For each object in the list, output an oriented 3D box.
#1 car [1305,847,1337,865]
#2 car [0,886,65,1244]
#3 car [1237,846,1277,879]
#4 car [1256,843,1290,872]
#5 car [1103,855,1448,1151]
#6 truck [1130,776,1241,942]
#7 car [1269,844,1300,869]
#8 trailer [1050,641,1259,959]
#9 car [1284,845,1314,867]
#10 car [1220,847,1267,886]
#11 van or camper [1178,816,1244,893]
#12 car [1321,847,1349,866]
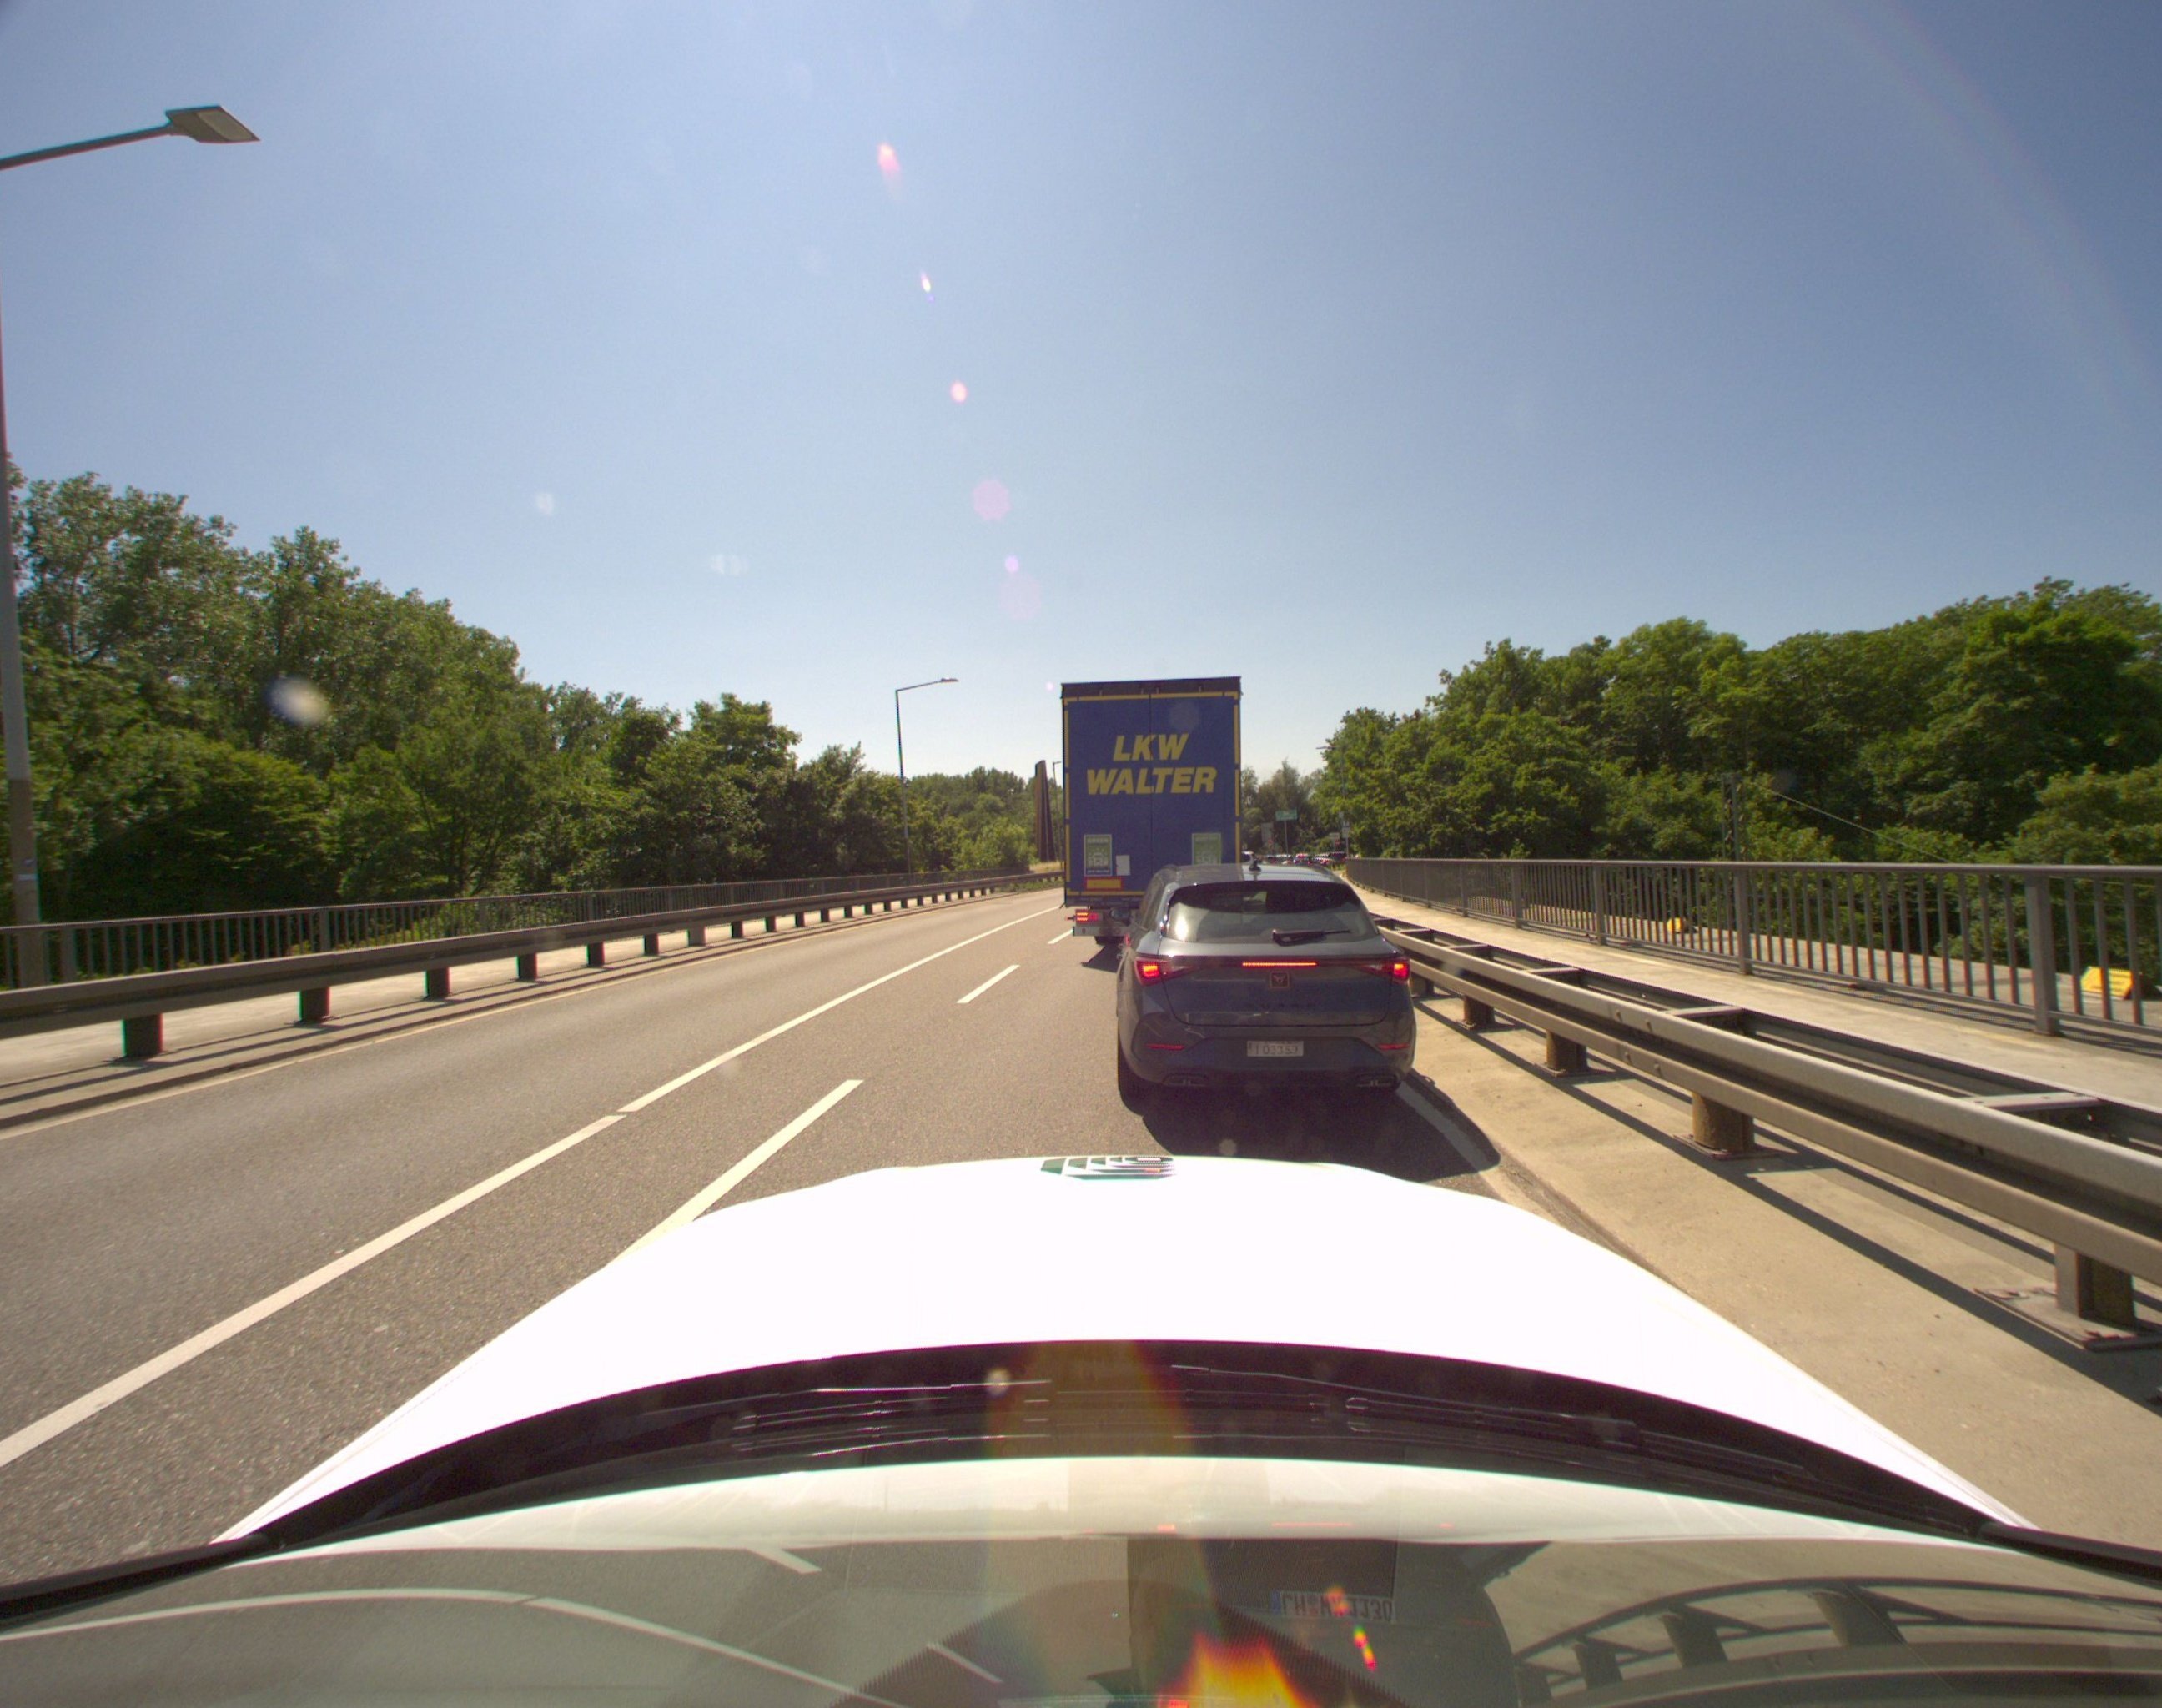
[{"bbox_3d":[21.836,0.194,74.053,1.975,1.575,4.024,0,-1,28],"label":"car"},{"bbox_3d":[-5.207,0.872,1.489,1.594,1.449,4.054,-1,0,0],"label":"car"},{"bbox_3d":[10.257,0.473,47.225,1.706,1.802,4.020,-1,0,20],"label":"car"},{"bbox_3d":[13.059,0.230,55.224,1.706,1.844,4.021,-1,0,21],"label":"car"},{"bbox_3d":[1.105,0.754,6.038,1.669,1.456,3.963,-1,0,4],"label":"car"},{"bbox_3d":[3.339,0.137,25.118,2.887,4.418,6.573,-1,0,10],"label":"truck"},{"bbox_3d":[15.348,0.161,61.308,1.706,1.844,4.021,-1,0,21],"label":"car"},{"bbox_3d":[2.054,-0.749,17.670,2.887,4.418,12.466,-1,0,10],"label":"trailer"},{"bbox_3d":[18.212,0.193,67.896,1.670,1.760,4.023,-1,-1,25],"label":"car"},{"bbox_3d":[8.228,0.592,40.950,1.706,1.844,4.020,-1,0,20],"label":"car"},{"bbox_3d":[5.491,0.014,33.640,2.139,2.815,6.411,-1,0,14],"label":"van or camper"},{"bbox_3d":[24.965,0.270,79.949,1.669,1.760,4.025,-2,-1,30],"label":"car"}]
